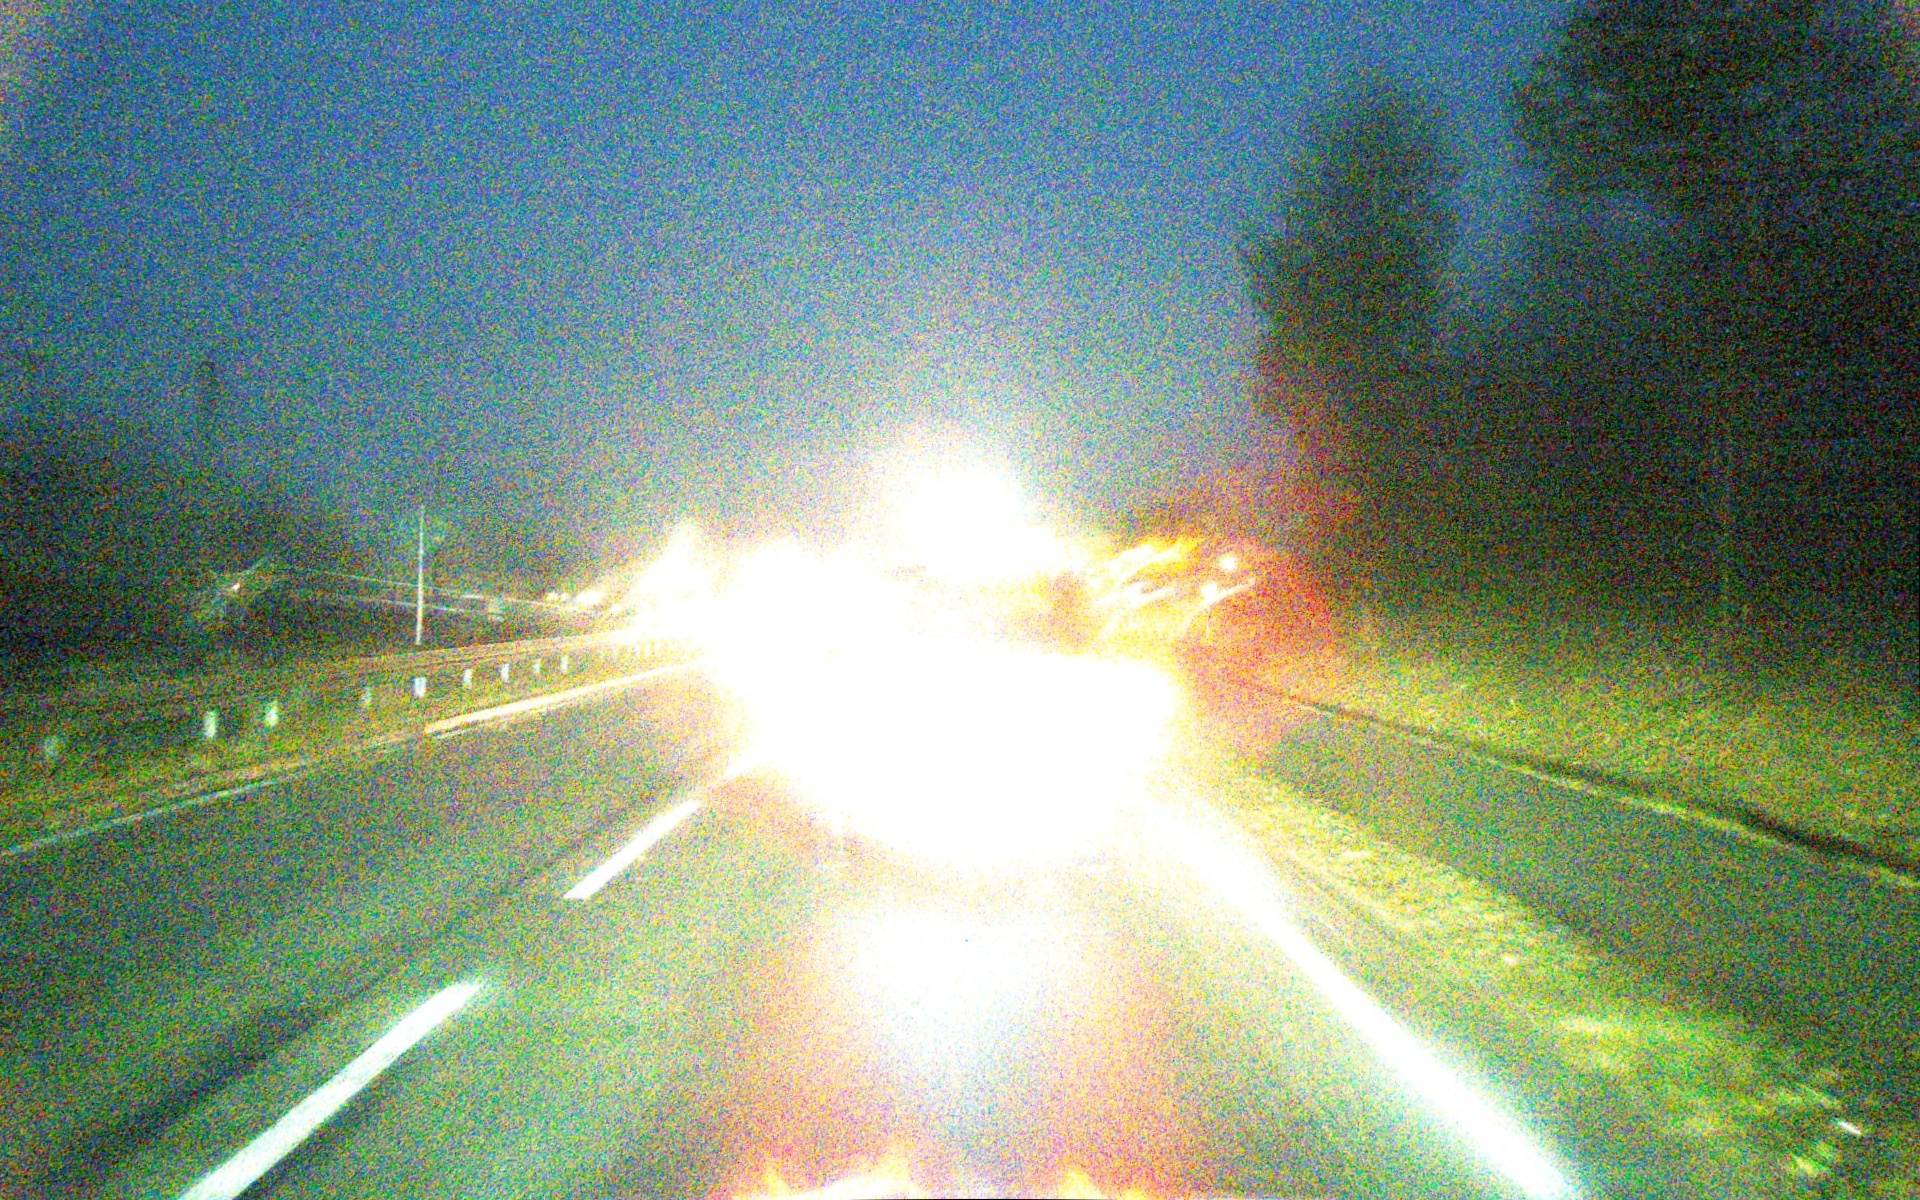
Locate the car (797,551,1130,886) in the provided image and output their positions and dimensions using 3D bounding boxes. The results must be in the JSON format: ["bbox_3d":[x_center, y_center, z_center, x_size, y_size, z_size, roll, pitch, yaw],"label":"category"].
[{"bbox_3d":[0.017,0.643,10.693,1.739,1.742,3.999,0,-1,0],"label":"car"}]
